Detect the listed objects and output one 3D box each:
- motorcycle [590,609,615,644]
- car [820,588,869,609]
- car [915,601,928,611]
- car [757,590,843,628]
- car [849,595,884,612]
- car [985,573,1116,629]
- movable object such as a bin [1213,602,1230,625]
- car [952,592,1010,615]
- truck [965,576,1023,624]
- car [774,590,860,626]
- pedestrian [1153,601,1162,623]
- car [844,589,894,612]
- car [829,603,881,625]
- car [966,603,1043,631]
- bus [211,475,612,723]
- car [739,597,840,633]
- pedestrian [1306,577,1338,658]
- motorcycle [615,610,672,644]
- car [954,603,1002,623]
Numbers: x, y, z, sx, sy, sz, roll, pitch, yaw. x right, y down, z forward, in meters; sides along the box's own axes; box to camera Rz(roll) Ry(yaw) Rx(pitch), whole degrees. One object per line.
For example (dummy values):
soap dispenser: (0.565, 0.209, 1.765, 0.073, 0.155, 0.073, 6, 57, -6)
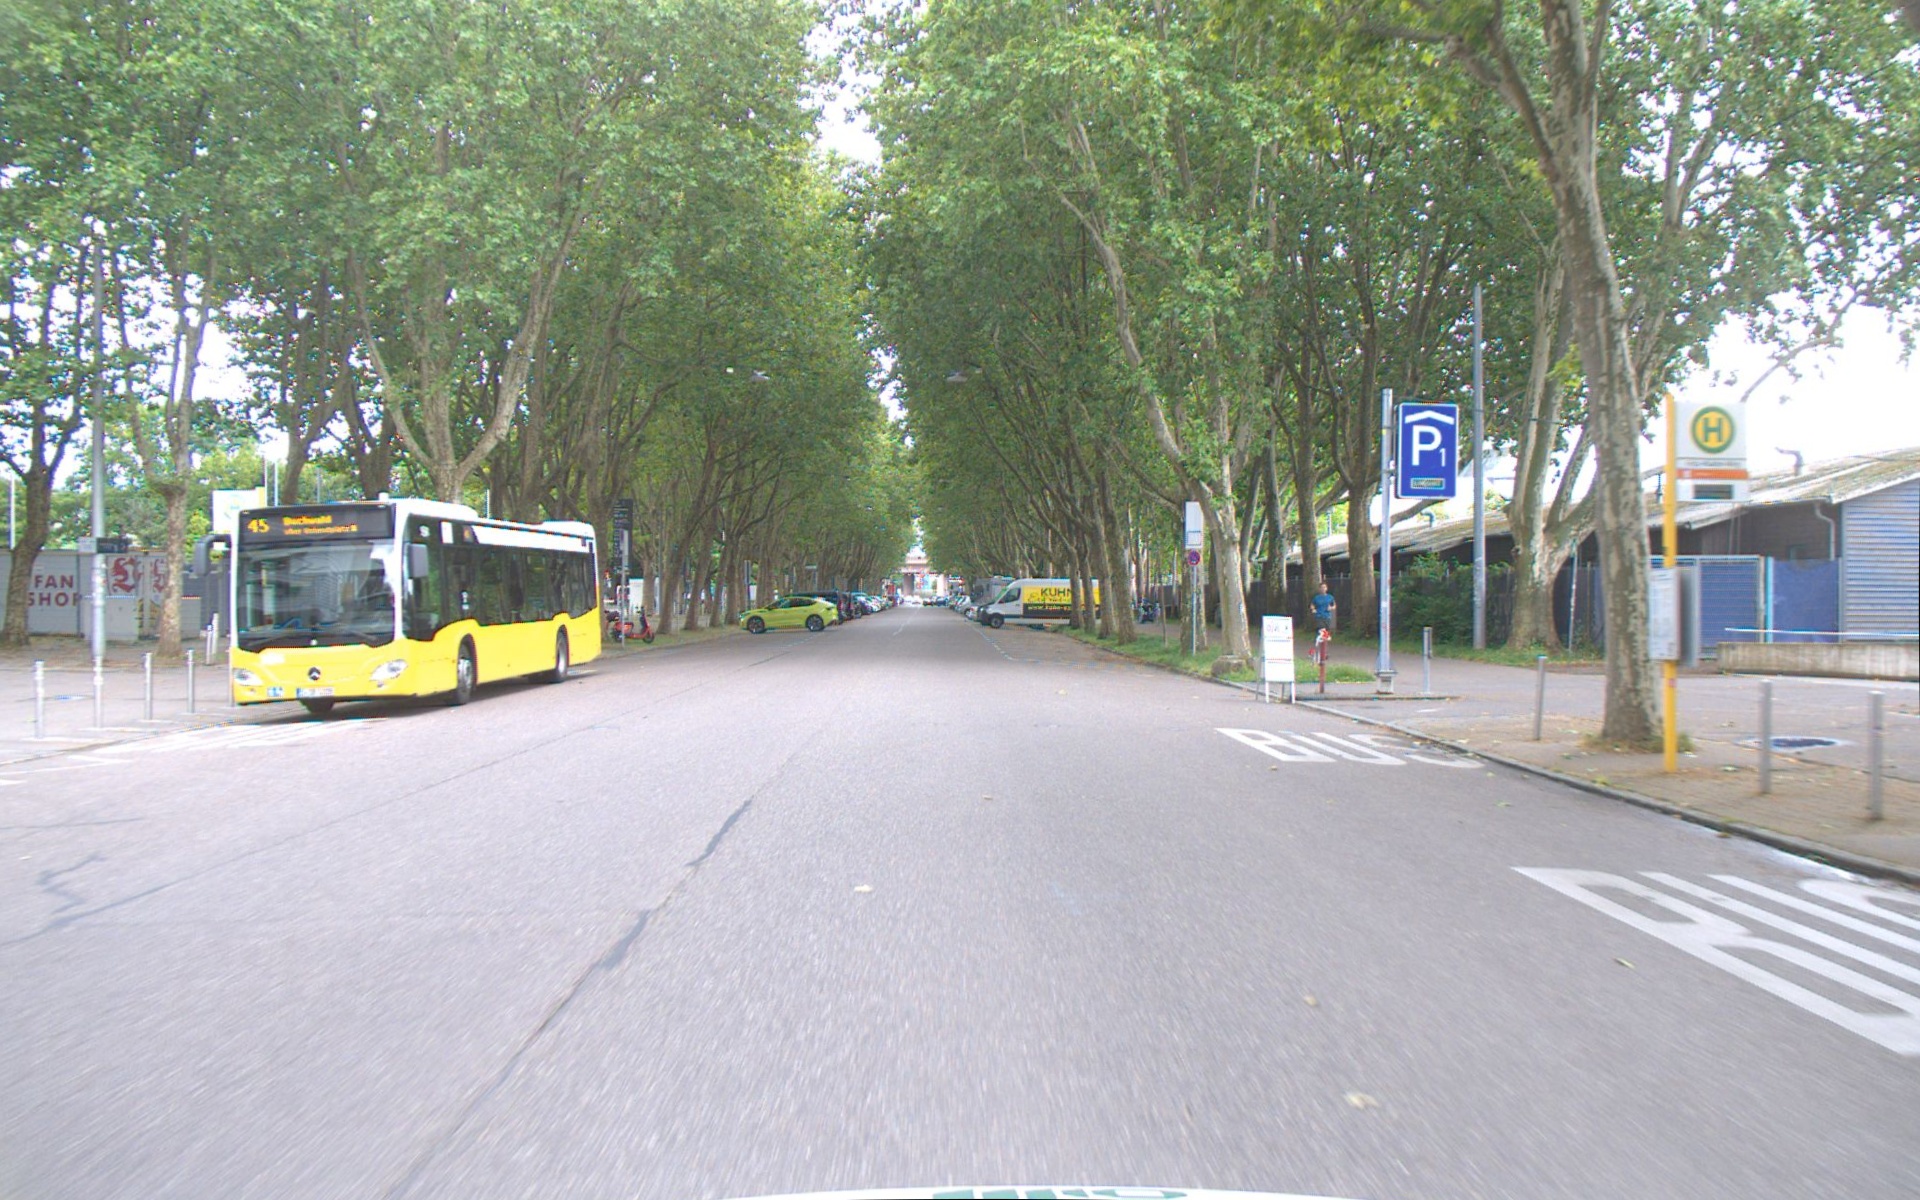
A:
motorcycle: (-12.585, 0.915, 58.175, 0.565, 1.178, 2.064, 1, 0, -20)
car: (-10.343, -0.146, 147.725, 4.254, 1.697, 1.999, -3, 0, -3)
car: (-5.718, 0.847, 243.695, 1.622, 1.388, 4.108, -3, 0, -5)
car: (-8.821, 0.482, 91.324, 4.670, 1.958, 2.015, -1, 0, -6)
car: (-10.162, 0.387, 179.521, 3.751, 1.656, 1.951, -2, 0, -4)
car: (4.685, 0.059, 86.673, 6.739, 2.742, 2.127, 1, 0, 0)
movable object such as a bin: (11.834, 0.619, 74.849, 0.557, 0.975, 0.674, -5, 0, -2)
car: (1.606, 0.263, 125.519, 4.250, 1.646, 1.804, 2, 0, 2)
truck: (2.179, 0.001, 107.959, 2.413, 2.989, 7.521, 1, 0, -9)
car: (-8.309, 0.447, 96.306, 4.805, 1.958, 2.208, -1, 0, -1)
pedestrian: (10.020, 0.618, 83.723, 0.387, 1.103, 0.419, -2, -1, 2)
car: (-8.942, 0.075, 162.966, 4.795, 2.054, 1.919, -2, 0, -2)
car: (-8.841, 1.178, 139.925, 4.292, 1.625, 1.999, -2, 0, -3)
car: (2.516, 0.970, 93.084, 4.268, 1.471, 1.613, 1, 0, 2)
bus: (-8.711, 0.001, 28.529, 2.597, 3.209, 12.368, -3, 0, 0)
car: (-7.871, 0.689, 76.574, 4.423, 1.646, 1.758, 0, 0, 1)
pedestrian: (9.236, 0.441, 42.211, 0.694, 2.049, 0.882, 1, -1, 8)
motorcycle: (-11.181, 0.950, 58.531, 0.565, 1.178, 2.065, 0, -1, 41)
car: (1.530, 1.118, 140.502, 4.035, 1.454, 1.703, 3, -1, 1)
